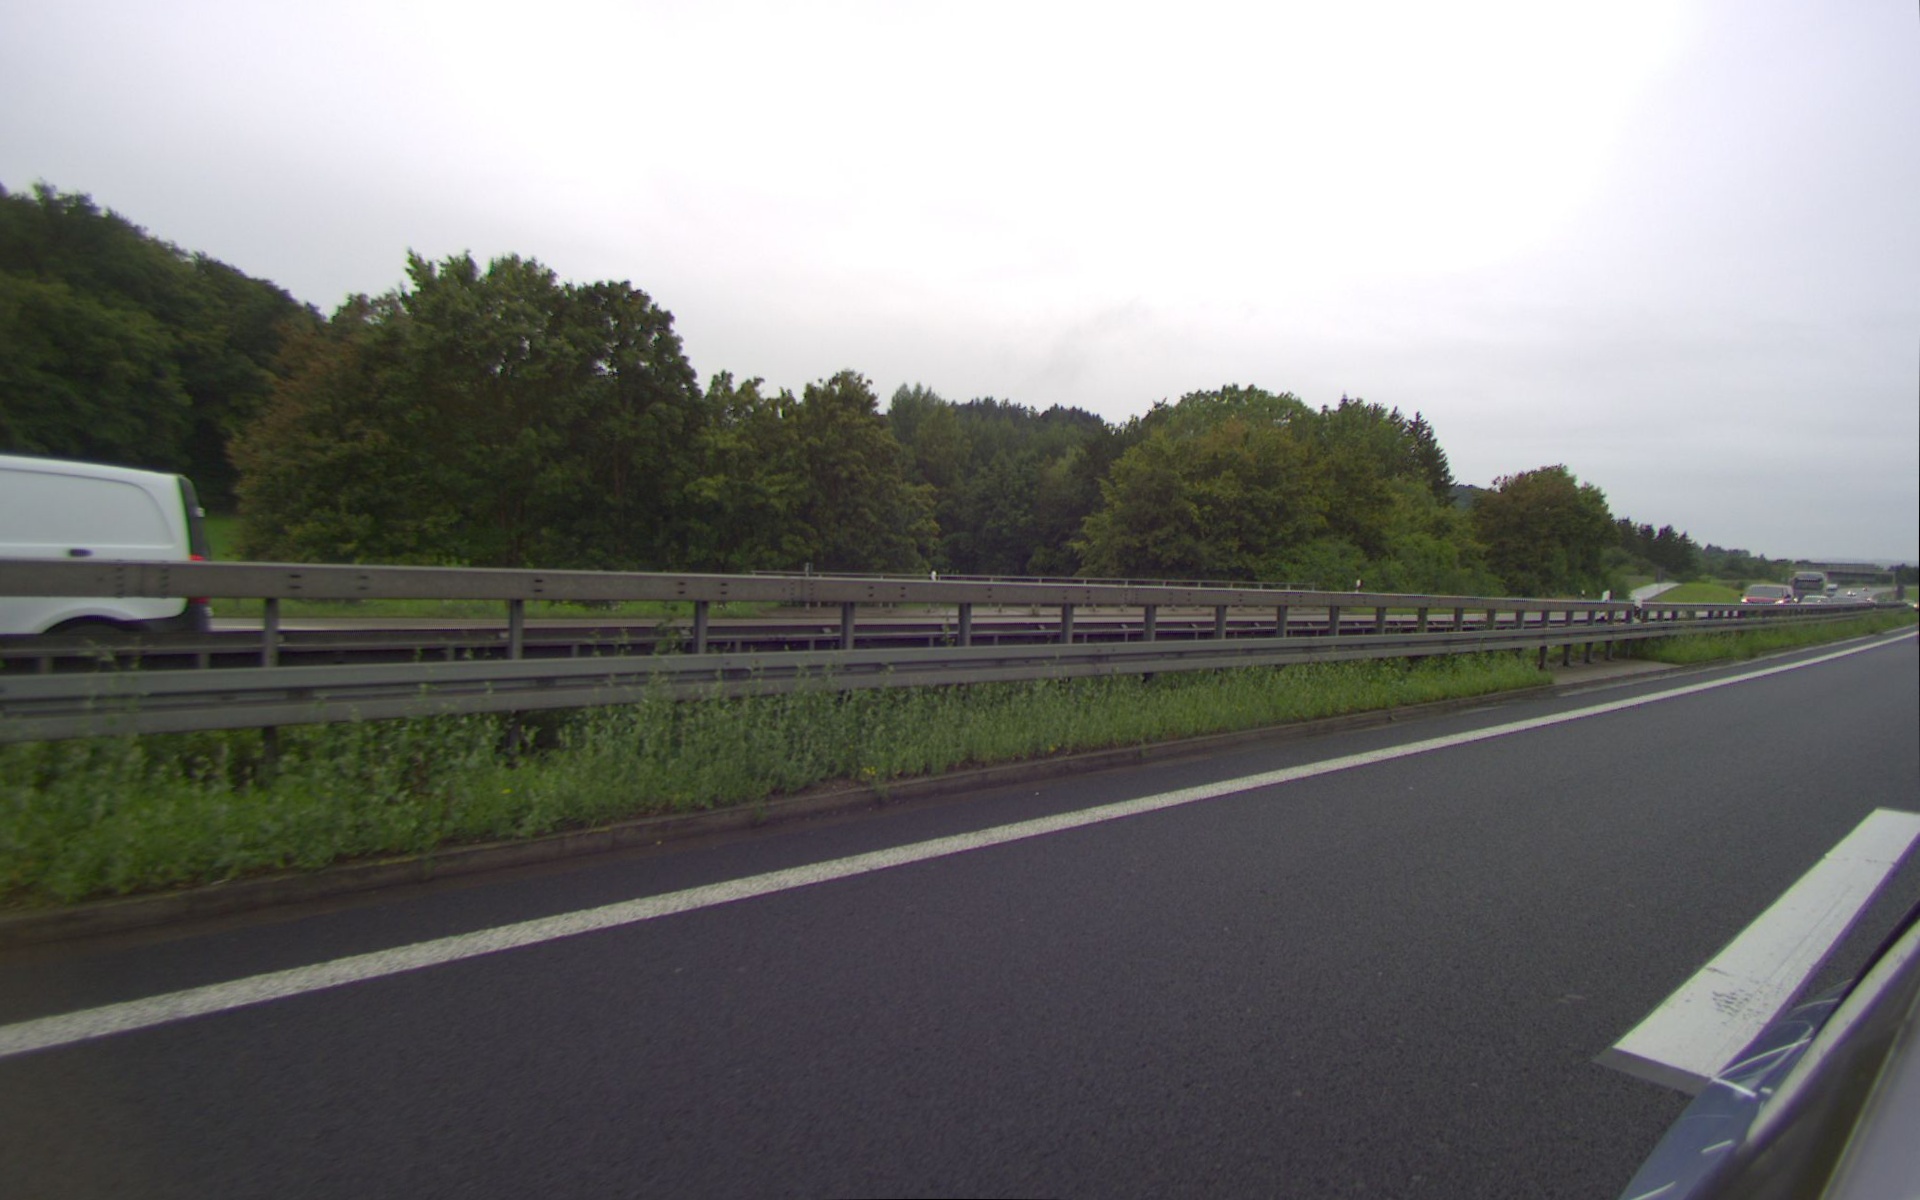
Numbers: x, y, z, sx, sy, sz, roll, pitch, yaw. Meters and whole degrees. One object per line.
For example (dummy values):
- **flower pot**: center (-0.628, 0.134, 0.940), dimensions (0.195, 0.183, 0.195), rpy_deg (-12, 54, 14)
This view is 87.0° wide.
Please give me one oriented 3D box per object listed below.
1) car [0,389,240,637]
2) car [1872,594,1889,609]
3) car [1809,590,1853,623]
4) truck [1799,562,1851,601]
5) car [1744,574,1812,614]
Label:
- **car**: center (-7.982, -0.627, 7.105), dimensions (4.636, 1.714, 1.913), rpy_deg (0, 2, -41)
- **car**: center (128.711, 0.169, 141.518), dimensions (1.747, 2.038, 4.430), rpy_deg (2, 2, 42)
- **car**: center (57.005, 0.418, 66.204), dimensions (4.424, 2.038, 1.749), rpy_deg (-1, 2, -44)
- **truck**: center (91.861, -1.977, 107.359), dimensions (9.854, 3.949, 2.797), rpy_deg (0, 2, -41)
- **car**: center (44.156, -0.372, 54.606), dimensions (4.991, 2.038, 2.127), rpy_deg (0, 2, -43)
